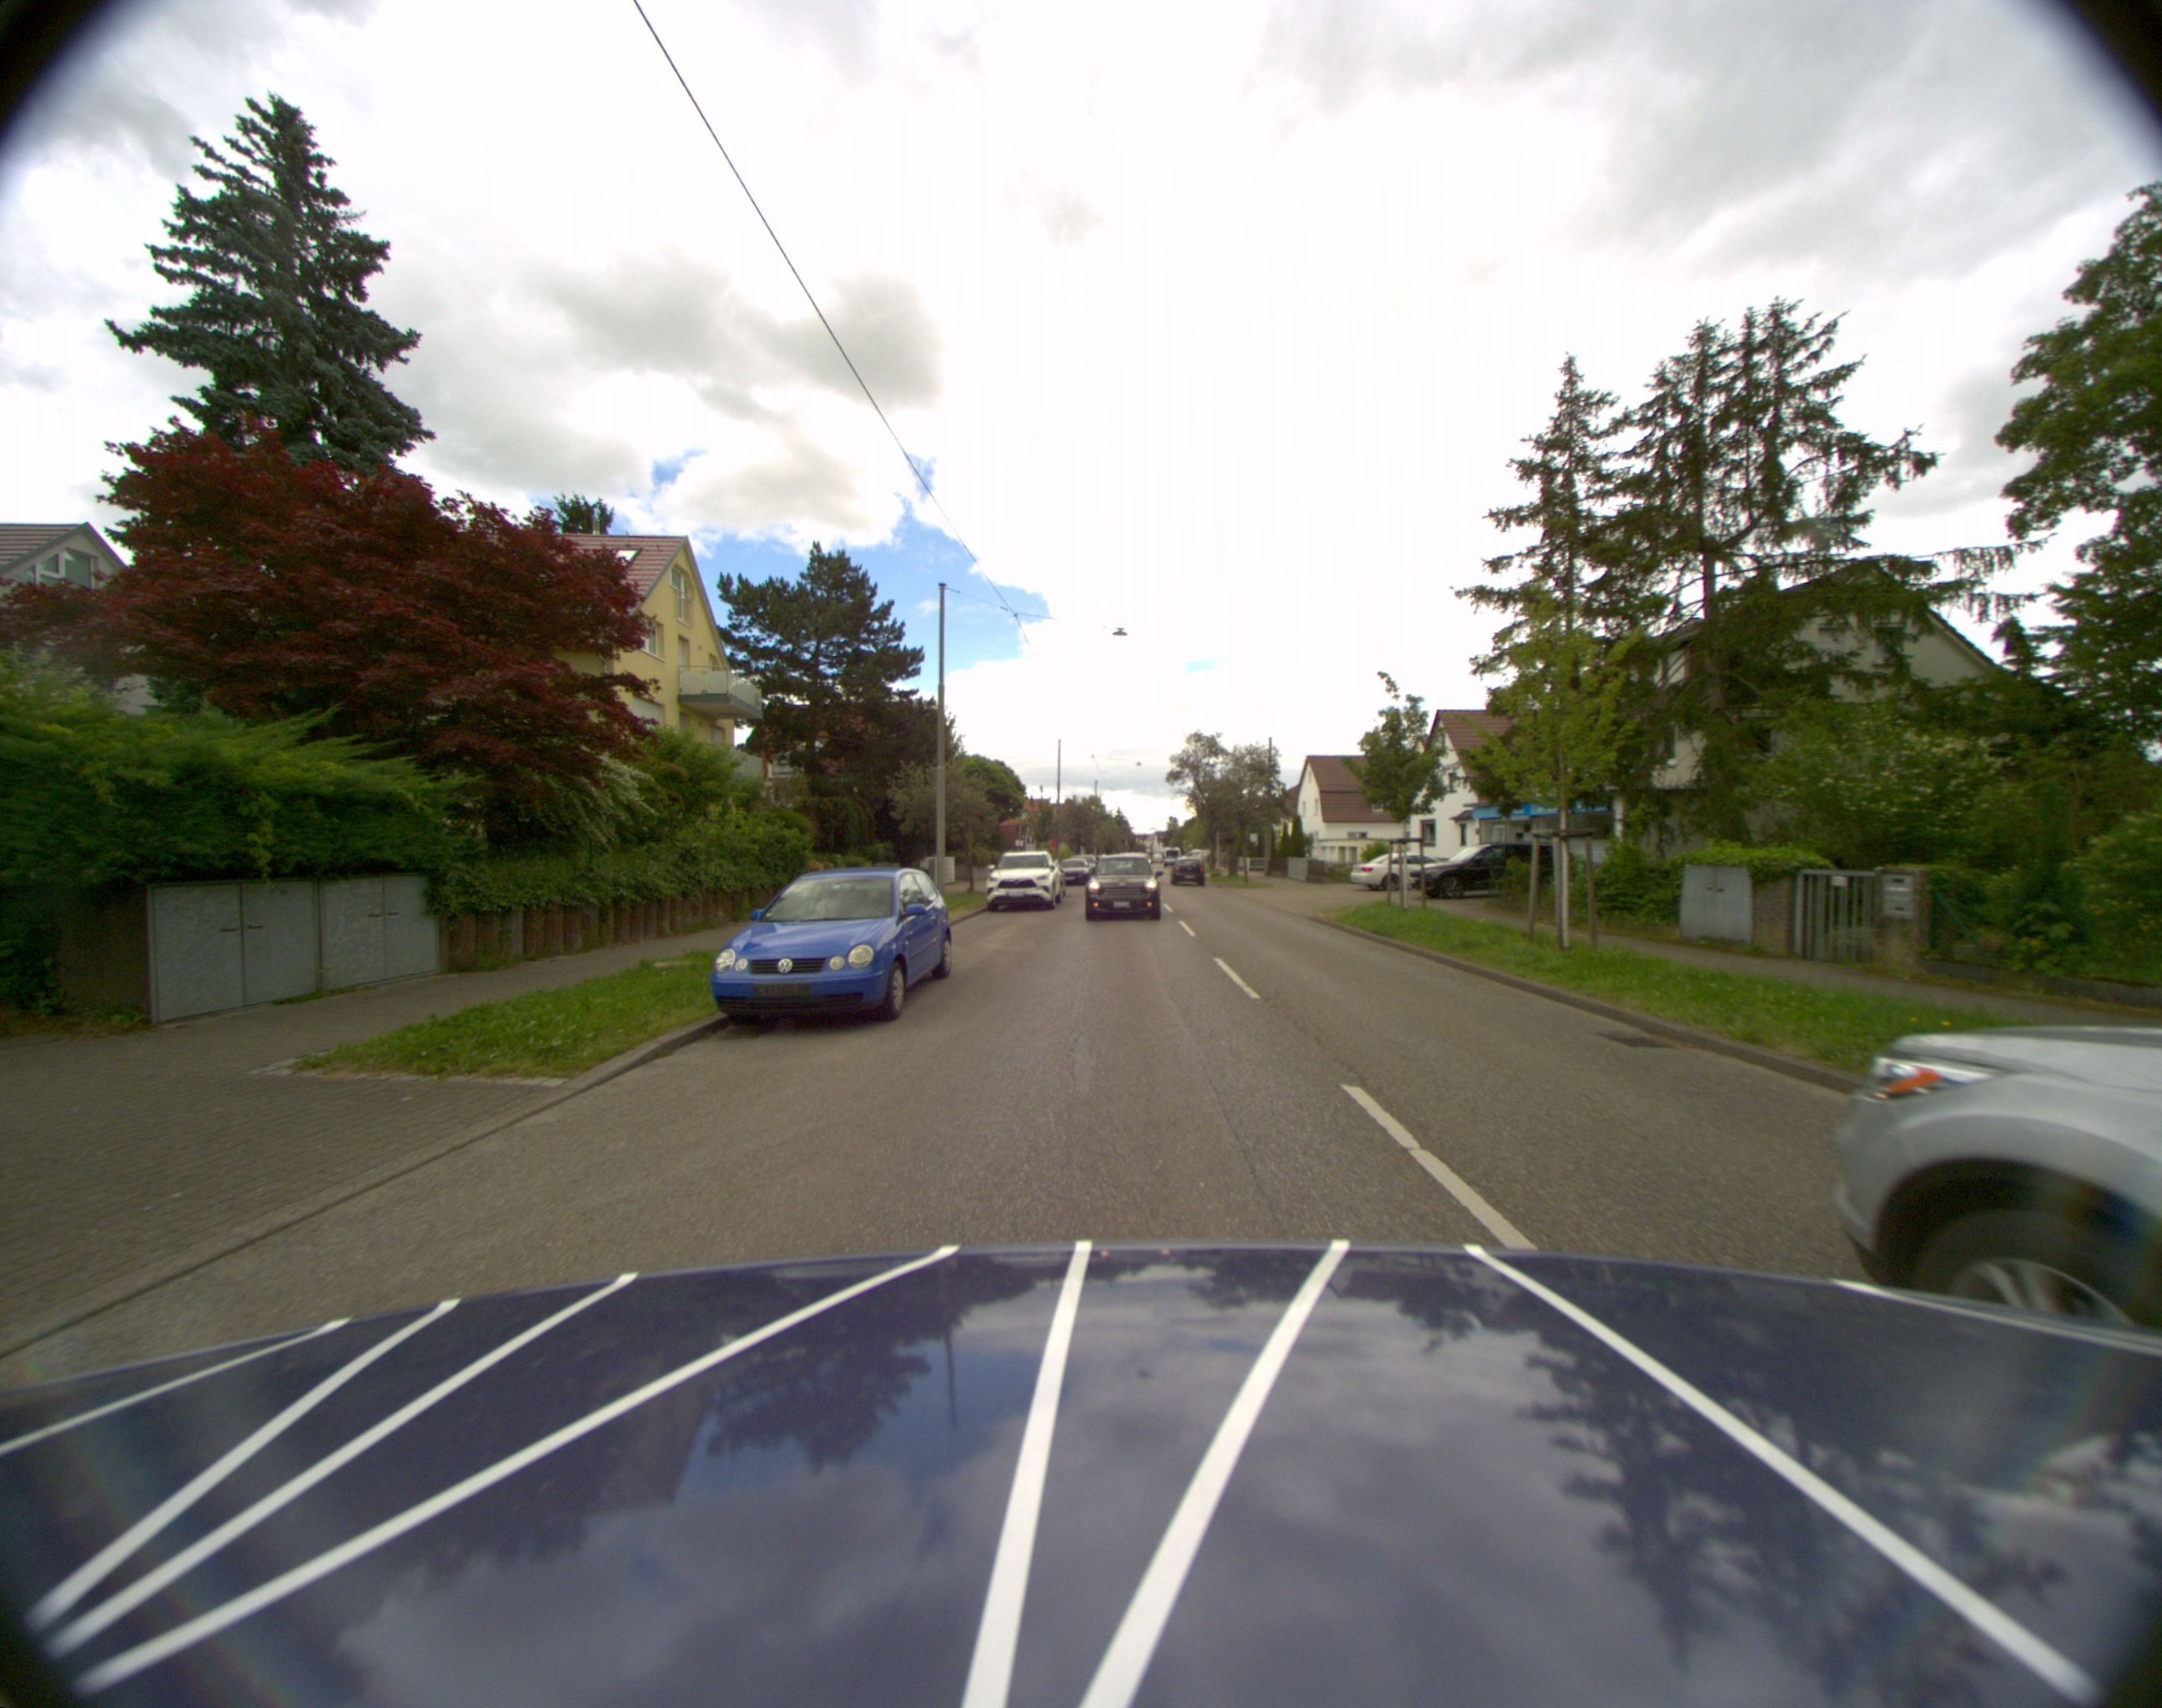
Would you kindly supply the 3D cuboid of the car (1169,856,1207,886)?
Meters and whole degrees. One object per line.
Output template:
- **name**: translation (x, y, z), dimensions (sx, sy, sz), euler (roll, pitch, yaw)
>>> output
- **car**: translation (5.598, 0.848, 39.940), dimensions (1.578, 1.463, 3.471), euler (2, 0, 2)

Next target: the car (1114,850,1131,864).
- **car**: translation (4.812, 0.338, 87.246), dimensions (1.697, 1.445, 4.406), euler (-2, 0, 6)

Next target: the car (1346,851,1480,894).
- **car**: translation (12.581, 0.676, 28.948), dimensions (4.289, 1.360, 1.816), euler (-3, 1, -1)

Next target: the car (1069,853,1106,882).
- **car**: translation (0.484, 0.817, 48.113), dimensions (1.834, 1.702, 4.551), euler (-2, 0, 6)

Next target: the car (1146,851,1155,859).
- **car**: translation (15.523, 0.179, 169.352), dimensions (1.817, 1.683, 4.467), euler (1, 0, 5)

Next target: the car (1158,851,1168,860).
- **car**: translation (15.588, 0.284, 144.437), dimensions (1.799, 1.741, 4.300), euler (1, 0, 6)

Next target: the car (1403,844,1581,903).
- **car**: translation (12.386, 0.556, 23.152), dimensions (4.342, 1.608, 1.974), euler (-2, 1, 6)

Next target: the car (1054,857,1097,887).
- **car**: translation (-0.240, 0.914, 41.360), dimensions (1.834, 1.448, 4.551), euler (-2, 0, 5)

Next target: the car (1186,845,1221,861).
- **car**: translation (21.310, -0.136, 132.115), dimensions (5.608, 2.549, 2.134), euler (2, 2, 24)

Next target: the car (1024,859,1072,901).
- **car**: translation (-1.217, 0.961, 29.532), dimensions (1.562, 1.434, 3.507), euler (-2, 0, 2)

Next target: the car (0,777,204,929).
- **car**: translation (-13.473, 0.010, 8.654), dimensions (1.782, 1.670, 4.531), euler (3, 6, -3)

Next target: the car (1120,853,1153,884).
- **car**: translation (3.064, 0.755, 41.146), dimensions (1.589, 1.598, 3.686), euler (0, 0, 7)

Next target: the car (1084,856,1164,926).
- **car**: translation (1.164, 0.834, 18.883), dimensions (1.743, 1.573, 3.686), euler (-1, 0, 7)

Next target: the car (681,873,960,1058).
- **car**: translation (-2.551, 1.010, 8.467), dimensions (1.631, 1.443, 3.876), euler (-1, 0, 2)

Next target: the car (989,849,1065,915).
- **car**: translation (-1.549, 0.775, 23.453), dimensions (1.803, 1.768, 4.705), euler (-2, 0, 2)

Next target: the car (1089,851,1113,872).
- **car**: translation (1.758, 0.632, 65.234), dimensions (1.691, 1.600, 4.110), euler (-2, 0, 6)

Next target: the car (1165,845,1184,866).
- **car**: translation (11.798, 0.150, 96.186), dimensions (2.077, 2.567, 5.302), euler (2, 0, 5)

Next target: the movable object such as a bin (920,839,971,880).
- **movable object such as a bin**: translation (-6.973, 0.252, 39.210), dimensions (2.316, 2.002, 1.343), euler (-2, 1, 1)

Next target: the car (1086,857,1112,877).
- **car**: translation (1.321, 0.903, 53.889), dimensions (1.484, 1.229, 3.885), euler (-3, 0, 6)
